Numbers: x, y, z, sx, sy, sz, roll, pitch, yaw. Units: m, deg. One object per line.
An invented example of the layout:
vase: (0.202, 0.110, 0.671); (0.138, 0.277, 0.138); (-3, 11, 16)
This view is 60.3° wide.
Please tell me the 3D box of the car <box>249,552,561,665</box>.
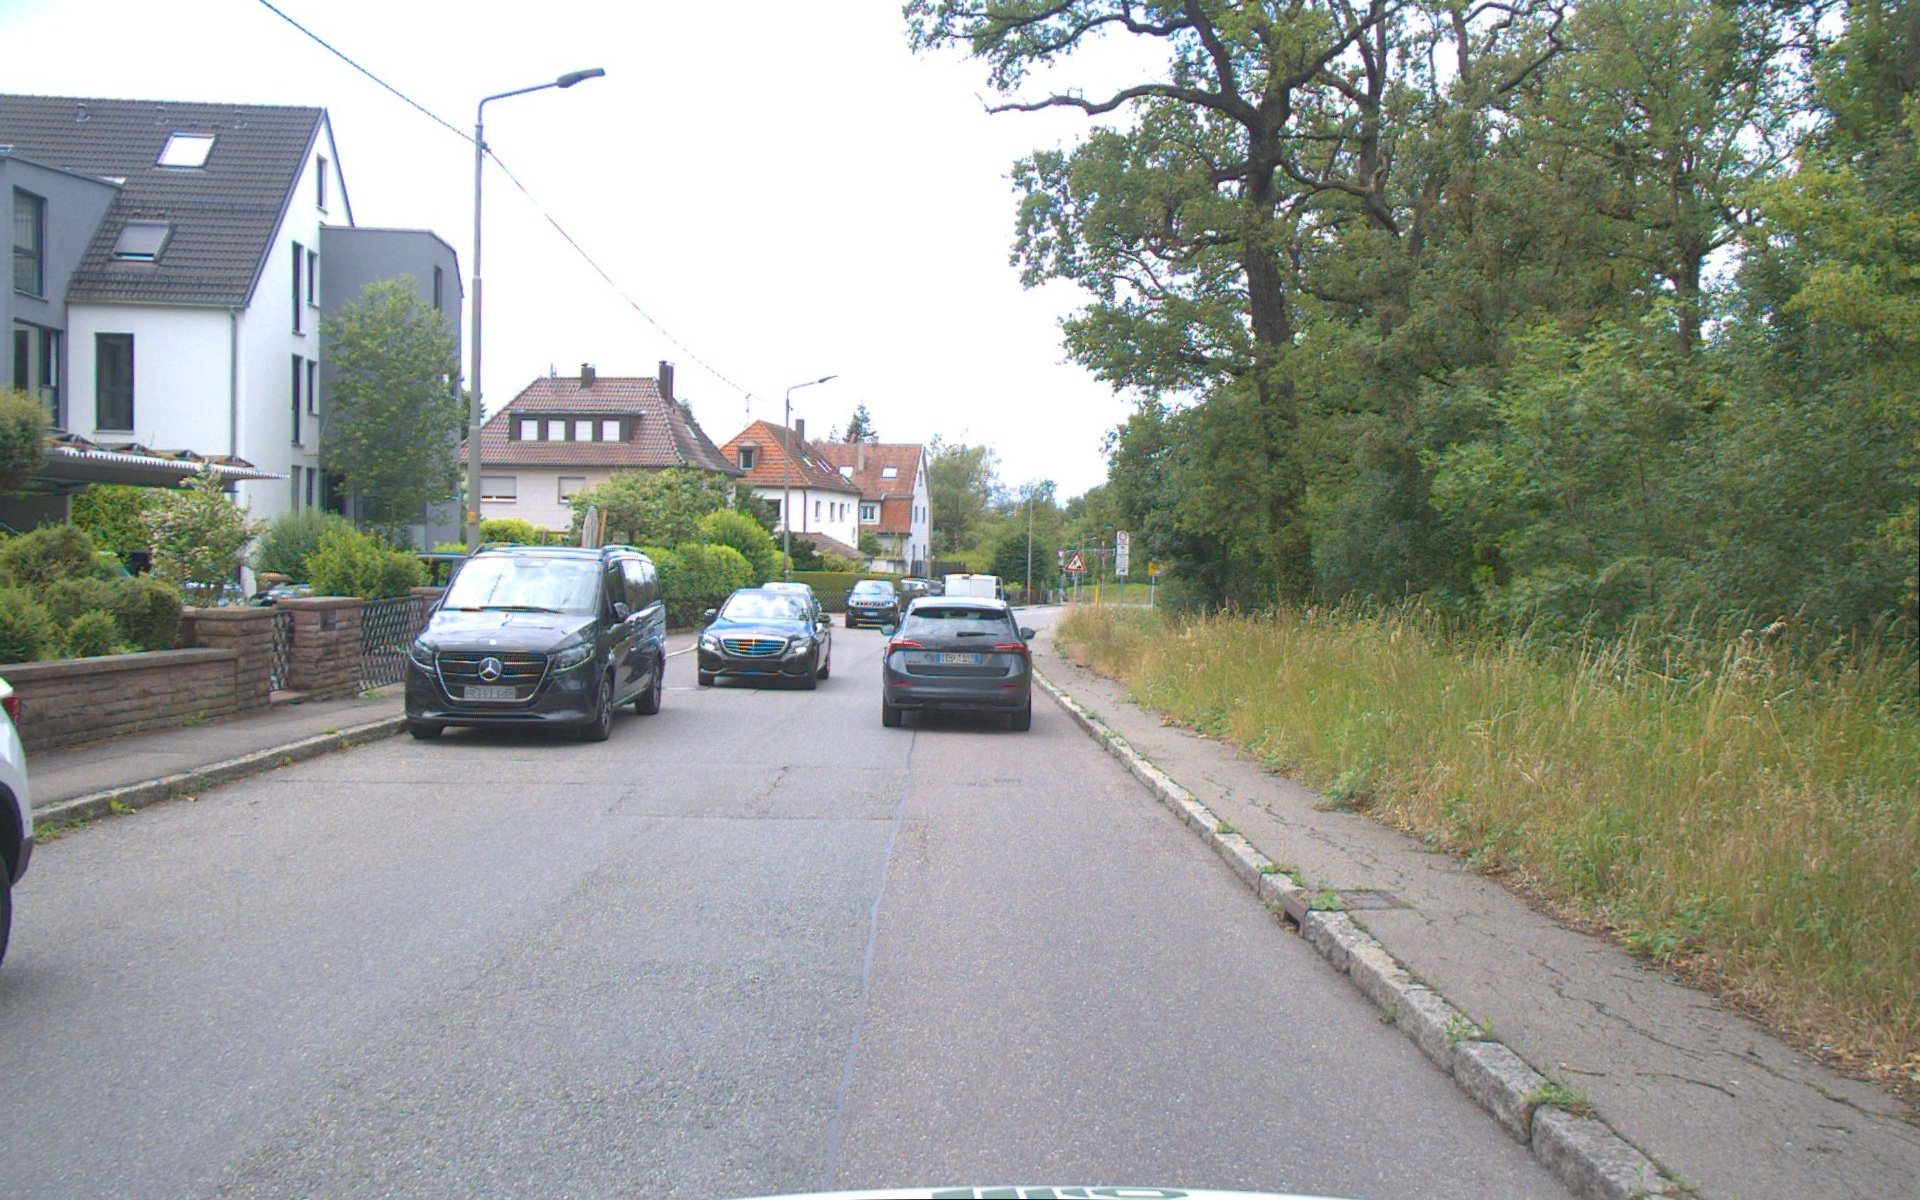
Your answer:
car: (-9.109, 0.131, 27.484); (4.525, 1.727, 1.998); (1, 0, -4)

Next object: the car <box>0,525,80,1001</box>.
car: (-4.232, 0.594, 4.268); (1.801, 1.677, 4.183); (-1, 0, -2)

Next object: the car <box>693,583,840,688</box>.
car: (-2.953, 0.498, 26.110); (1.825, 1.439, 4.591); (2, 0, -1)

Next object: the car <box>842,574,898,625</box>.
car: (-3.129, -0.048, 58.093); (1.796, 1.624, 4.323); (2, 1, -1)

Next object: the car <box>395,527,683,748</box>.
car: (-4.278, 0.324, 17.683); (1.825, 1.960, 5.037); (2, 0, -1)

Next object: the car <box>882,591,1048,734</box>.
car: (-0.044, 0.658, 19.938); (1.693, 1.464, 4.321); (2, 1, -3)

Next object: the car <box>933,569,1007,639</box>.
car: (0.371, 0.100, 50.722); (2.028, 1.955, 4.924); (2, 0, 3)

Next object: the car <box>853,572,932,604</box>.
car: (-3.605, -0.654, 88.843); (3.902, 1.646, 2.002); (1, 1, 8)

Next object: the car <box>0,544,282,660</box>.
car: (-13.551, 0.006, 27.133); (4.041, 1.726, 1.999); (1, 3, -4)

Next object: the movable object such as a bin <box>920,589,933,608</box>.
movable object such as a bin: (-1.743, -0.076, 85.271); (0.586, 0.967, 0.580); (1, 0, 6)

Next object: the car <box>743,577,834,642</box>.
car: (-4.387, 0.222, 42.875); (1.746, 1.526, 4.016); (2, 0, 2)

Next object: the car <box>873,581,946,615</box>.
car: (-2.817, -0.142, 92.827); (3.904, 1.735, 1.917); (2, 0, 2)
